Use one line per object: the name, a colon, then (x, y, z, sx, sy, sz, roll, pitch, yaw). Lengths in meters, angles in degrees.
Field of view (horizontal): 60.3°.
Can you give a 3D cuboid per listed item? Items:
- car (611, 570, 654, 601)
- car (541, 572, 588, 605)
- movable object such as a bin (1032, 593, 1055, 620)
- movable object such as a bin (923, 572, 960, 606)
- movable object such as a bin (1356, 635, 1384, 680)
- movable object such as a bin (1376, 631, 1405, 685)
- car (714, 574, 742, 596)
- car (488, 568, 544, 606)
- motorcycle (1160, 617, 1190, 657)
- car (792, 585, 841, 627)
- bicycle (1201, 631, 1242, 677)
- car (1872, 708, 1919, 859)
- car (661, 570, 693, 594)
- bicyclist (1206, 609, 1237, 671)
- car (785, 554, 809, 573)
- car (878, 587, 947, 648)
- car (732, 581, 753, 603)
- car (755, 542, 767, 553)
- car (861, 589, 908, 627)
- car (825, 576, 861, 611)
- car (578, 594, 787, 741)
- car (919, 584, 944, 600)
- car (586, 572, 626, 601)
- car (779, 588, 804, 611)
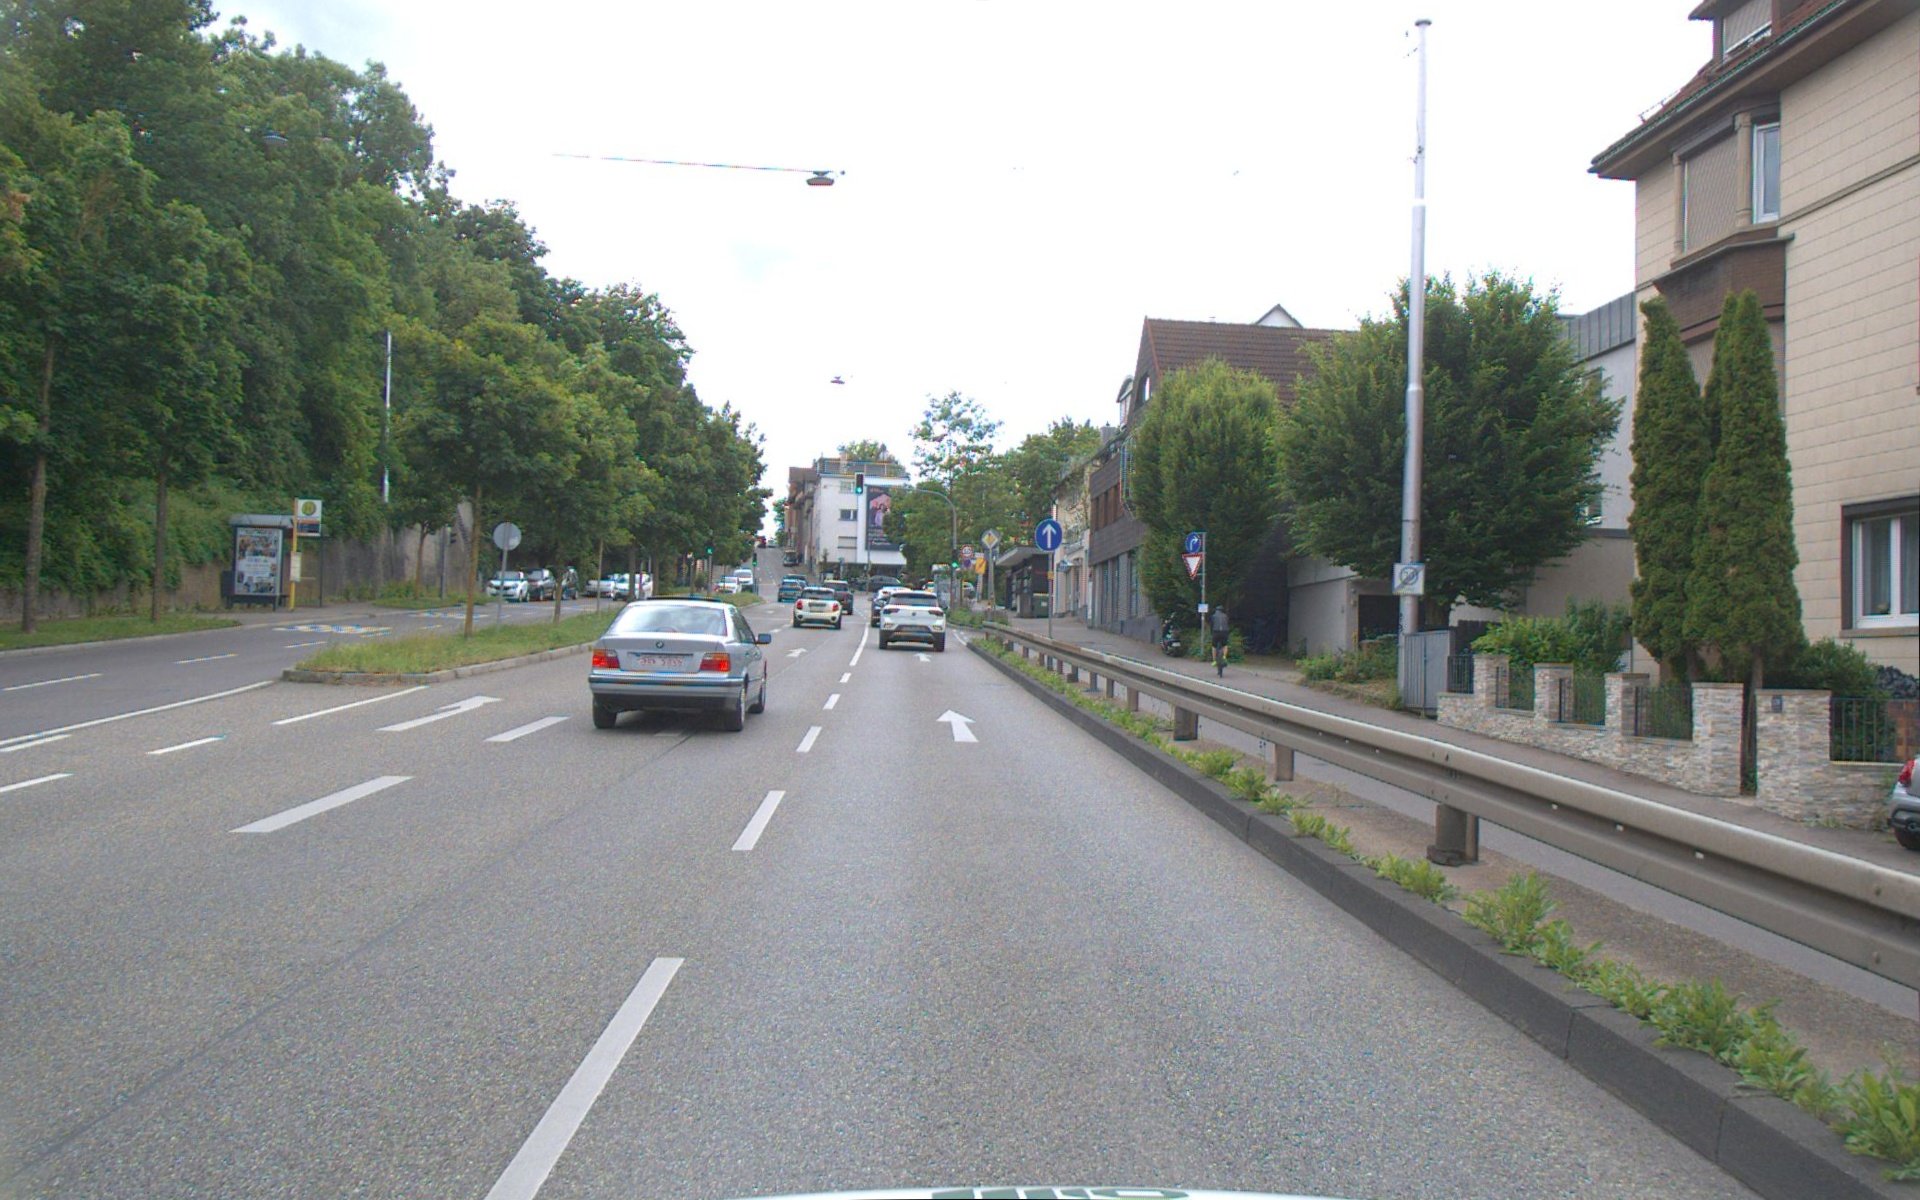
car: (-19.128, -0.875, 96.703, 1.823, 1.699, 4.276, 3, 1, -4)
car: (-21.869, -0.662, 91.558, 1.824, 1.699, 4.275, 3, 1, -5)
movable object such as a bin: (4.749, 0.358, 94.165, 1.172, 1.433, 0.710, 3, 1, -3)
movable object such as a bin: (-1.092, -0.643, 96.908, 1.858, 1.902, 1.524, 3, 1, -12)
movable object such as a bin: (10.179, 1.427, 41.097, 0.484, 1.076, 0.538, 3, 1, -2)
movable object such as a bin: (10.697, 1.433, 41.088, 0.484, 1.294, 0.538, 3, 1, -2)
car: (-17.941, -1.207, 128.144, 1.824, 1.567, 4.275, 3, 1, -5)
car: (-21.883, -0.658, 81.608, 1.824, 1.699, 4.275, 3, 1, -5)
motorcycle: (6.665, 1.137, 51.427, 0.596, 1.182, 2.040, 0, 1, -2)
car: (-5.126, 0.211, 58.956, 1.689, 1.400, 3.452, -1, 0, -5)
bicycle: (6.729, 1.373, 42.639, 0.555, 1.081, 2.003, -1, 1, -5)
car: (11.374, 1.943, 16.843, 3.548, 1.460, 1.695, 3, 0, -19)
car: (-20.468, -1.316, 119.803, 1.824, 1.567, 4.275, 3, 1, -5)
bicyclist: (6.723, 1.021, 42.530, 0.555, 1.551, 0.958, -1, 1, -5)
car: (-19.659, -4.371, 199.403, 2.460, 2.048, 5.179, 3, 1, -2)
car: (-1.286, 0.463, 44.355, 1.761, 1.545, 3.455, -1, 0, -2)
car: (-19.385, -0.689, 147.402, 1.635, 1.898, 3.242, 0, 1, -4)
car: (-30.123, -7.932, 250.279, 1.788, 1.534, 3.995, 3, 1, -7)
car: (-2.898, 0.302, 63.370, 1.689, 1.400, 3.453, -1, 0, -4)
car: (-5.868, -0.295, 82.790, 1.689, 1.668, 3.452, -1, 0, -5)
car: (-3.077, 0.686, 19.197, 1.601, 1.407, 4.620, 2, 0, 0)
car: (-2.530, -0.672, 148.500, 1.686, 1.400, 3.459, -1, 0, 9)
car: (-22.082, -0.851, 103.293, 1.824, 1.621, 4.275, 3, 1, -5)
car: (-12.006, -0.014, 118.077, 1.689, 1.610, 3.452, -1, 0, -5)
